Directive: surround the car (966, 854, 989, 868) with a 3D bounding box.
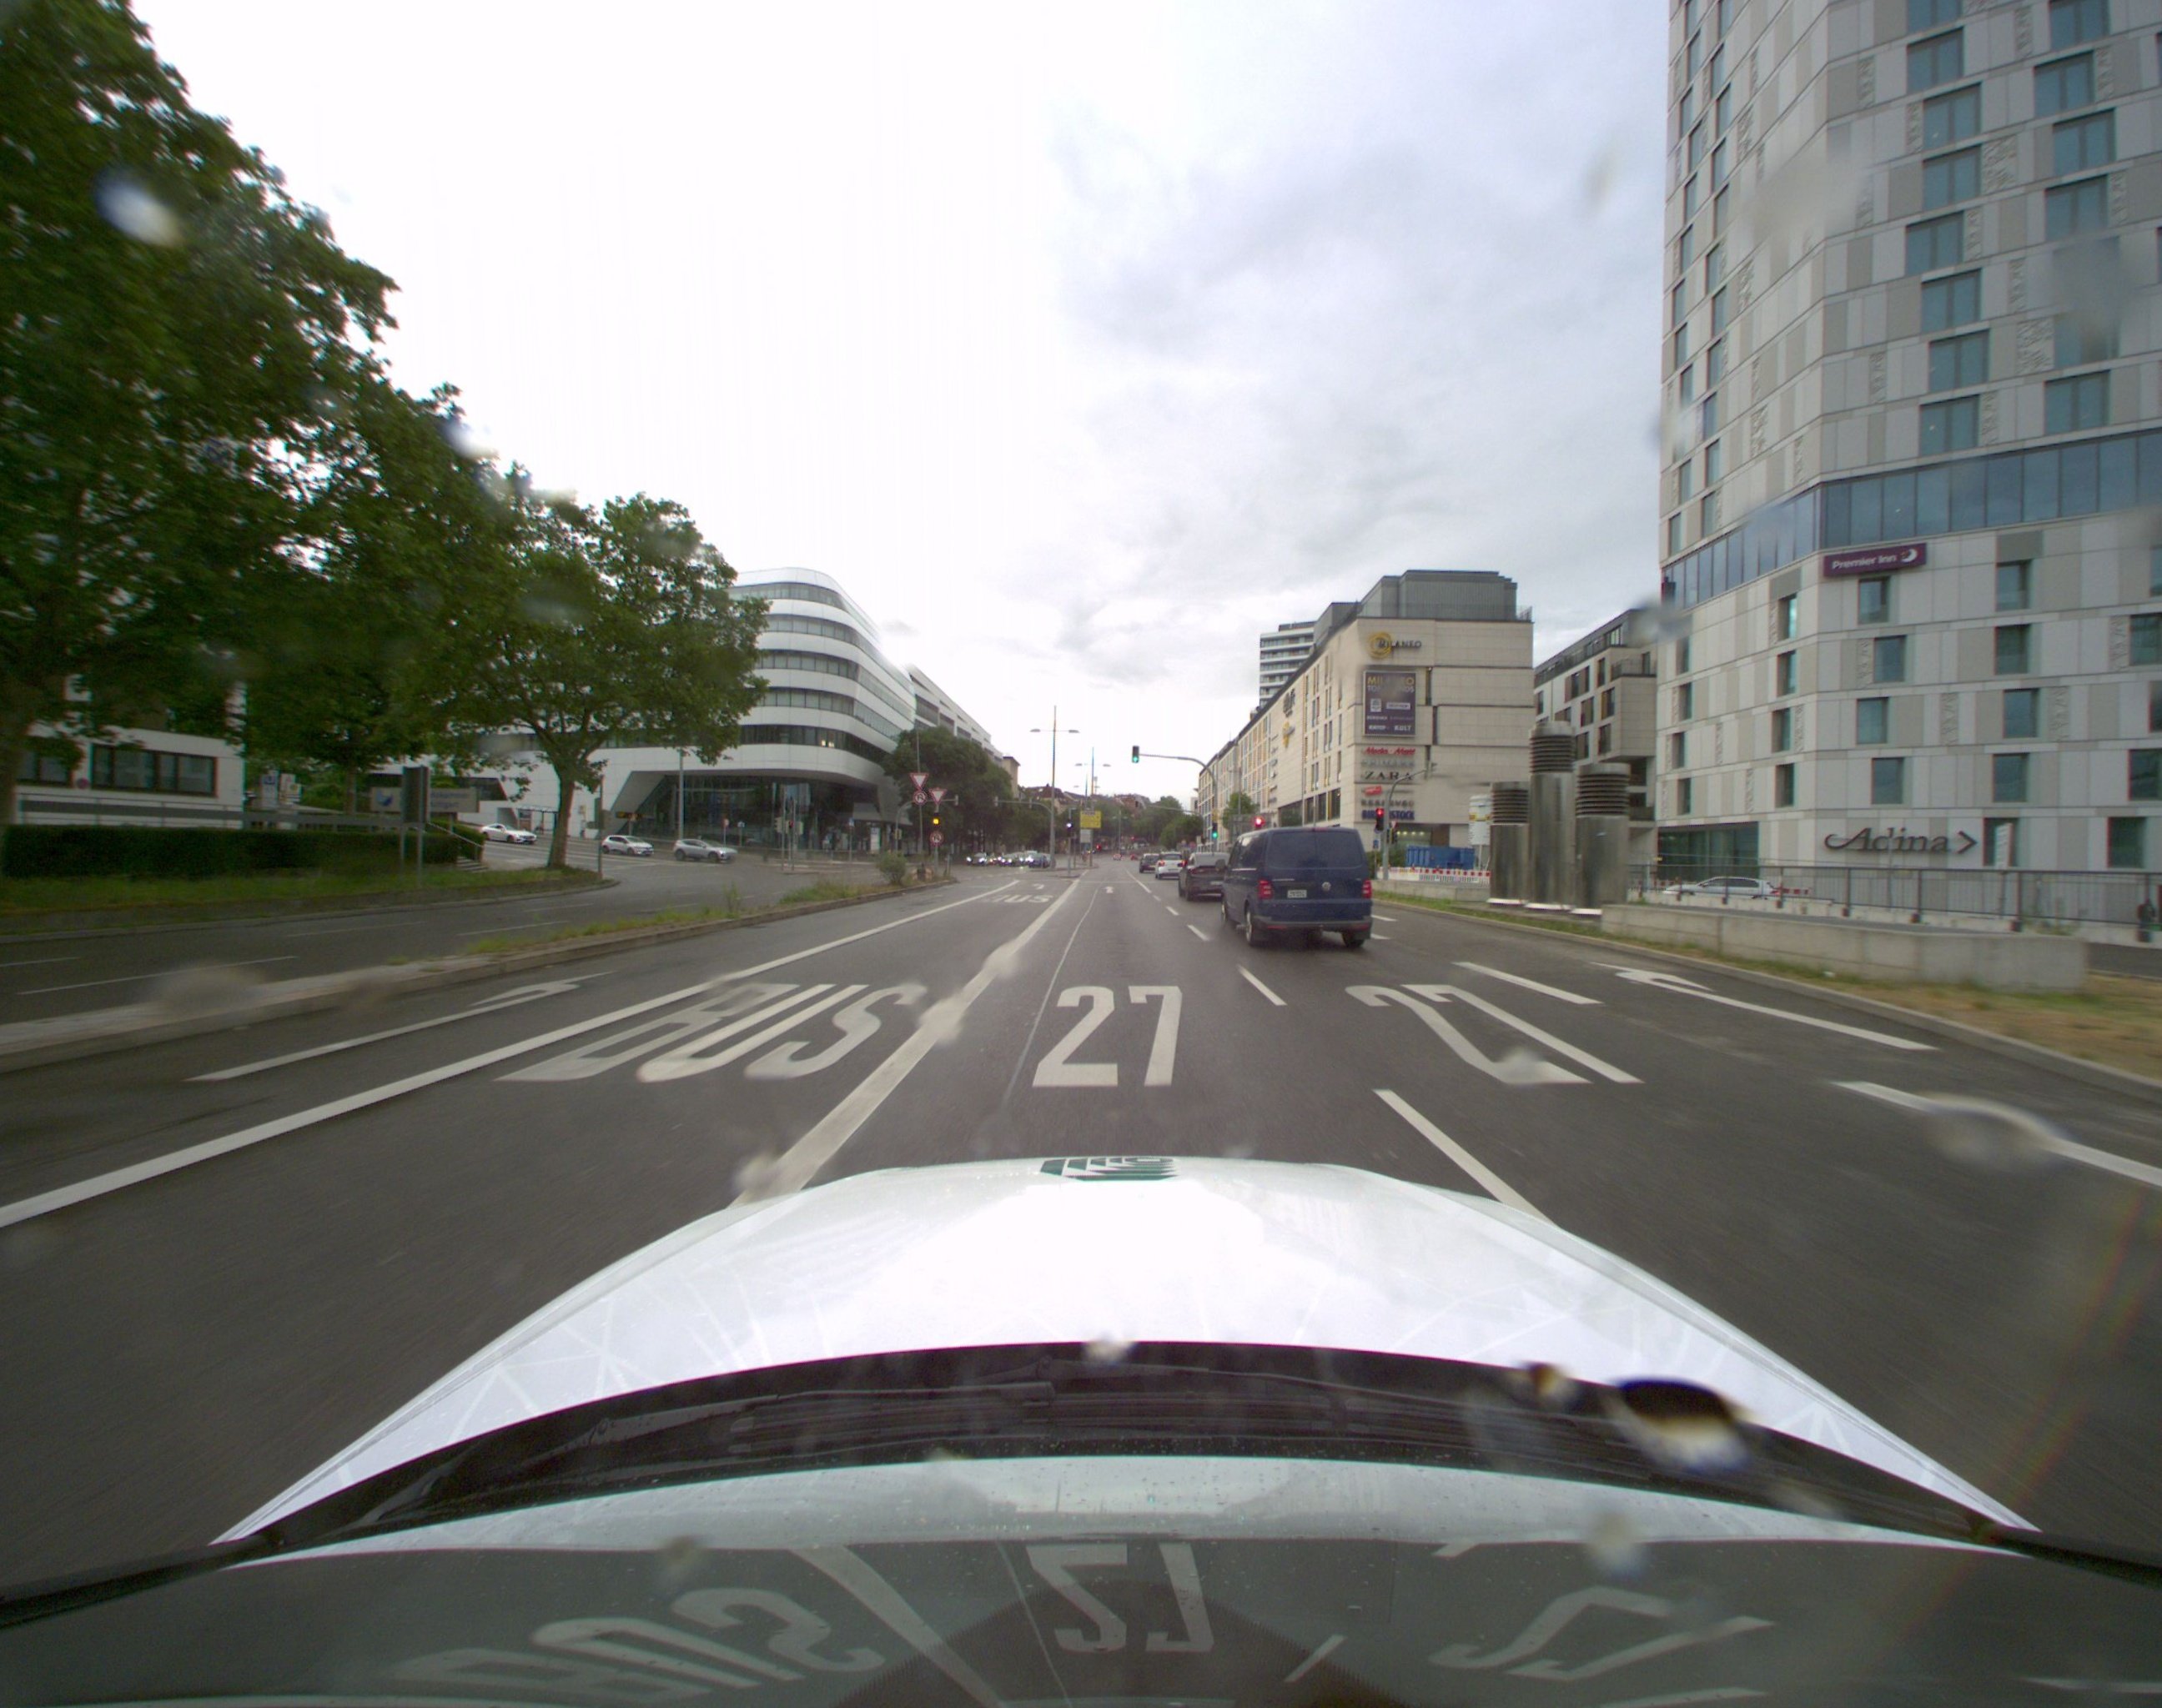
[{"bbox_3d":[-10.789,0.748,85.164,1.736,1.328,4.228,0,-1,2],"label":"car"}]

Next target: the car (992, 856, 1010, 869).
[{"bbox_3d":[-9.780,1.079,99.469,1.736,1.559,3.541,0,-1,2],"label":"car"}]

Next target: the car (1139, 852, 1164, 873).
[{"bbox_3d":[5.433,0.685,62.847,1.733,1.531,3.816,0,-1,2],"label":"car"}]

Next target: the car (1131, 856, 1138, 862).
[{"bbox_3d":[14.658,1.458,224.147,1.733,1.531,3.816,0,-1,2],"label":"car"}]

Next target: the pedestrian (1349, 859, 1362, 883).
[{"bbox_3d":[19.758,1.218,58.603,0.618,1.672,0.824,0,-1,2],"label":"pedestrian"}]

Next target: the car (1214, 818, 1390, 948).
[{"bbox_3d":[3.760,0.431,14.889,2.024,1.882,5.045,-2,0,3],"label":"car"}]

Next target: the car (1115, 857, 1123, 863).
[{"bbox_3d":[9.787,1.530,211.893,1.735,1.531,3.811,0,0,-2],"label":"car"}]

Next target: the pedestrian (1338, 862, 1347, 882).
[{"bbox_3d":[21.270,1.487,66.155,0.588,1.642,0.591,-1,-2,27],"label":"pedestrian"}]

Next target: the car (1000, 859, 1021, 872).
[{"bbox_3d":[-7.481,1.197,86.719,1.736,1.257,3.542,1,0,2],"label":"car"}]

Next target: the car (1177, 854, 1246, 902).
[{"bbox_3d":[4.264,0.739,27.284,1.784,1.507,4.341,0,0,2],"label":"car"}]

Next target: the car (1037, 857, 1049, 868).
[{"bbox_3d":[-6.249,1.477,134.645,1.736,1.748,3.541,0,-1,2],"label":"car"}]

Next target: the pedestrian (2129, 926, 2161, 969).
[{"bbox_3d":[44.659,3.905,34.082,0.801,1.702,0.794,1,-2,-24],"label":"pedestrian"}]

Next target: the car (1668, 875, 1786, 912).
[{"bbox_3d":[29.131,1.745,36.885,3.949,1.433,1.754,2,0,30],"label":"car"}]

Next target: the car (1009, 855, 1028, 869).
[{"bbox_3d":[-7.161,0.894,93.900,1.736,1.559,3.541,0,-1,2],"label":"car"}]

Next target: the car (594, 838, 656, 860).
[{"bbox_3d":[-34.908,-0.364,62.323,3.955,1.631,1.903,0,-1,18],"label":"car"}]

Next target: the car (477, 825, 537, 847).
[{"bbox_3d":[-46.337,-1.445,65.719,3.955,1.631,1.903,1,-1,18],"label":"car"}]

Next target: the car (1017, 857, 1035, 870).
[{"bbox_3d":[-6.618,1.145,98.565,1.736,1.559,3.541,0,-1,2],"label":"car"}]

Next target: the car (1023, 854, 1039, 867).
[{"bbox_3d":[-6.622,0.892,107.599,1.736,1.748,3.541,0,-1,2],"label":"car"}]

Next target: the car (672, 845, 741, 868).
[{"bbox_3d":[-27.419,0.186,59.617,4.465,1.631,1.903,0,-1,18],"label":"car"}]

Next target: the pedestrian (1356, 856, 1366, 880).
[{"bbox_3d":[20.792,1.062,60.441,0.441,1.780,0.590,1,-2,-25],"label":"pedestrian"}]

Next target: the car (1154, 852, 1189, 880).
[{"bbox_3d":[5.149,0.698,46.602,1.717,1.531,3.816,0,-1,2],"label":"car"}]

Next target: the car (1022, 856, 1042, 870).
[{"bbox_3d":[-5.154,0.943,85.444,1.736,1.444,3.396,0,-1,2],"label":"car"}]

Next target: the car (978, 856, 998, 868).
[{"bbox_3d":[-10.704,0.930,93.747,1.736,1.424,3.541,0,-1,2],"label":"car"}]
